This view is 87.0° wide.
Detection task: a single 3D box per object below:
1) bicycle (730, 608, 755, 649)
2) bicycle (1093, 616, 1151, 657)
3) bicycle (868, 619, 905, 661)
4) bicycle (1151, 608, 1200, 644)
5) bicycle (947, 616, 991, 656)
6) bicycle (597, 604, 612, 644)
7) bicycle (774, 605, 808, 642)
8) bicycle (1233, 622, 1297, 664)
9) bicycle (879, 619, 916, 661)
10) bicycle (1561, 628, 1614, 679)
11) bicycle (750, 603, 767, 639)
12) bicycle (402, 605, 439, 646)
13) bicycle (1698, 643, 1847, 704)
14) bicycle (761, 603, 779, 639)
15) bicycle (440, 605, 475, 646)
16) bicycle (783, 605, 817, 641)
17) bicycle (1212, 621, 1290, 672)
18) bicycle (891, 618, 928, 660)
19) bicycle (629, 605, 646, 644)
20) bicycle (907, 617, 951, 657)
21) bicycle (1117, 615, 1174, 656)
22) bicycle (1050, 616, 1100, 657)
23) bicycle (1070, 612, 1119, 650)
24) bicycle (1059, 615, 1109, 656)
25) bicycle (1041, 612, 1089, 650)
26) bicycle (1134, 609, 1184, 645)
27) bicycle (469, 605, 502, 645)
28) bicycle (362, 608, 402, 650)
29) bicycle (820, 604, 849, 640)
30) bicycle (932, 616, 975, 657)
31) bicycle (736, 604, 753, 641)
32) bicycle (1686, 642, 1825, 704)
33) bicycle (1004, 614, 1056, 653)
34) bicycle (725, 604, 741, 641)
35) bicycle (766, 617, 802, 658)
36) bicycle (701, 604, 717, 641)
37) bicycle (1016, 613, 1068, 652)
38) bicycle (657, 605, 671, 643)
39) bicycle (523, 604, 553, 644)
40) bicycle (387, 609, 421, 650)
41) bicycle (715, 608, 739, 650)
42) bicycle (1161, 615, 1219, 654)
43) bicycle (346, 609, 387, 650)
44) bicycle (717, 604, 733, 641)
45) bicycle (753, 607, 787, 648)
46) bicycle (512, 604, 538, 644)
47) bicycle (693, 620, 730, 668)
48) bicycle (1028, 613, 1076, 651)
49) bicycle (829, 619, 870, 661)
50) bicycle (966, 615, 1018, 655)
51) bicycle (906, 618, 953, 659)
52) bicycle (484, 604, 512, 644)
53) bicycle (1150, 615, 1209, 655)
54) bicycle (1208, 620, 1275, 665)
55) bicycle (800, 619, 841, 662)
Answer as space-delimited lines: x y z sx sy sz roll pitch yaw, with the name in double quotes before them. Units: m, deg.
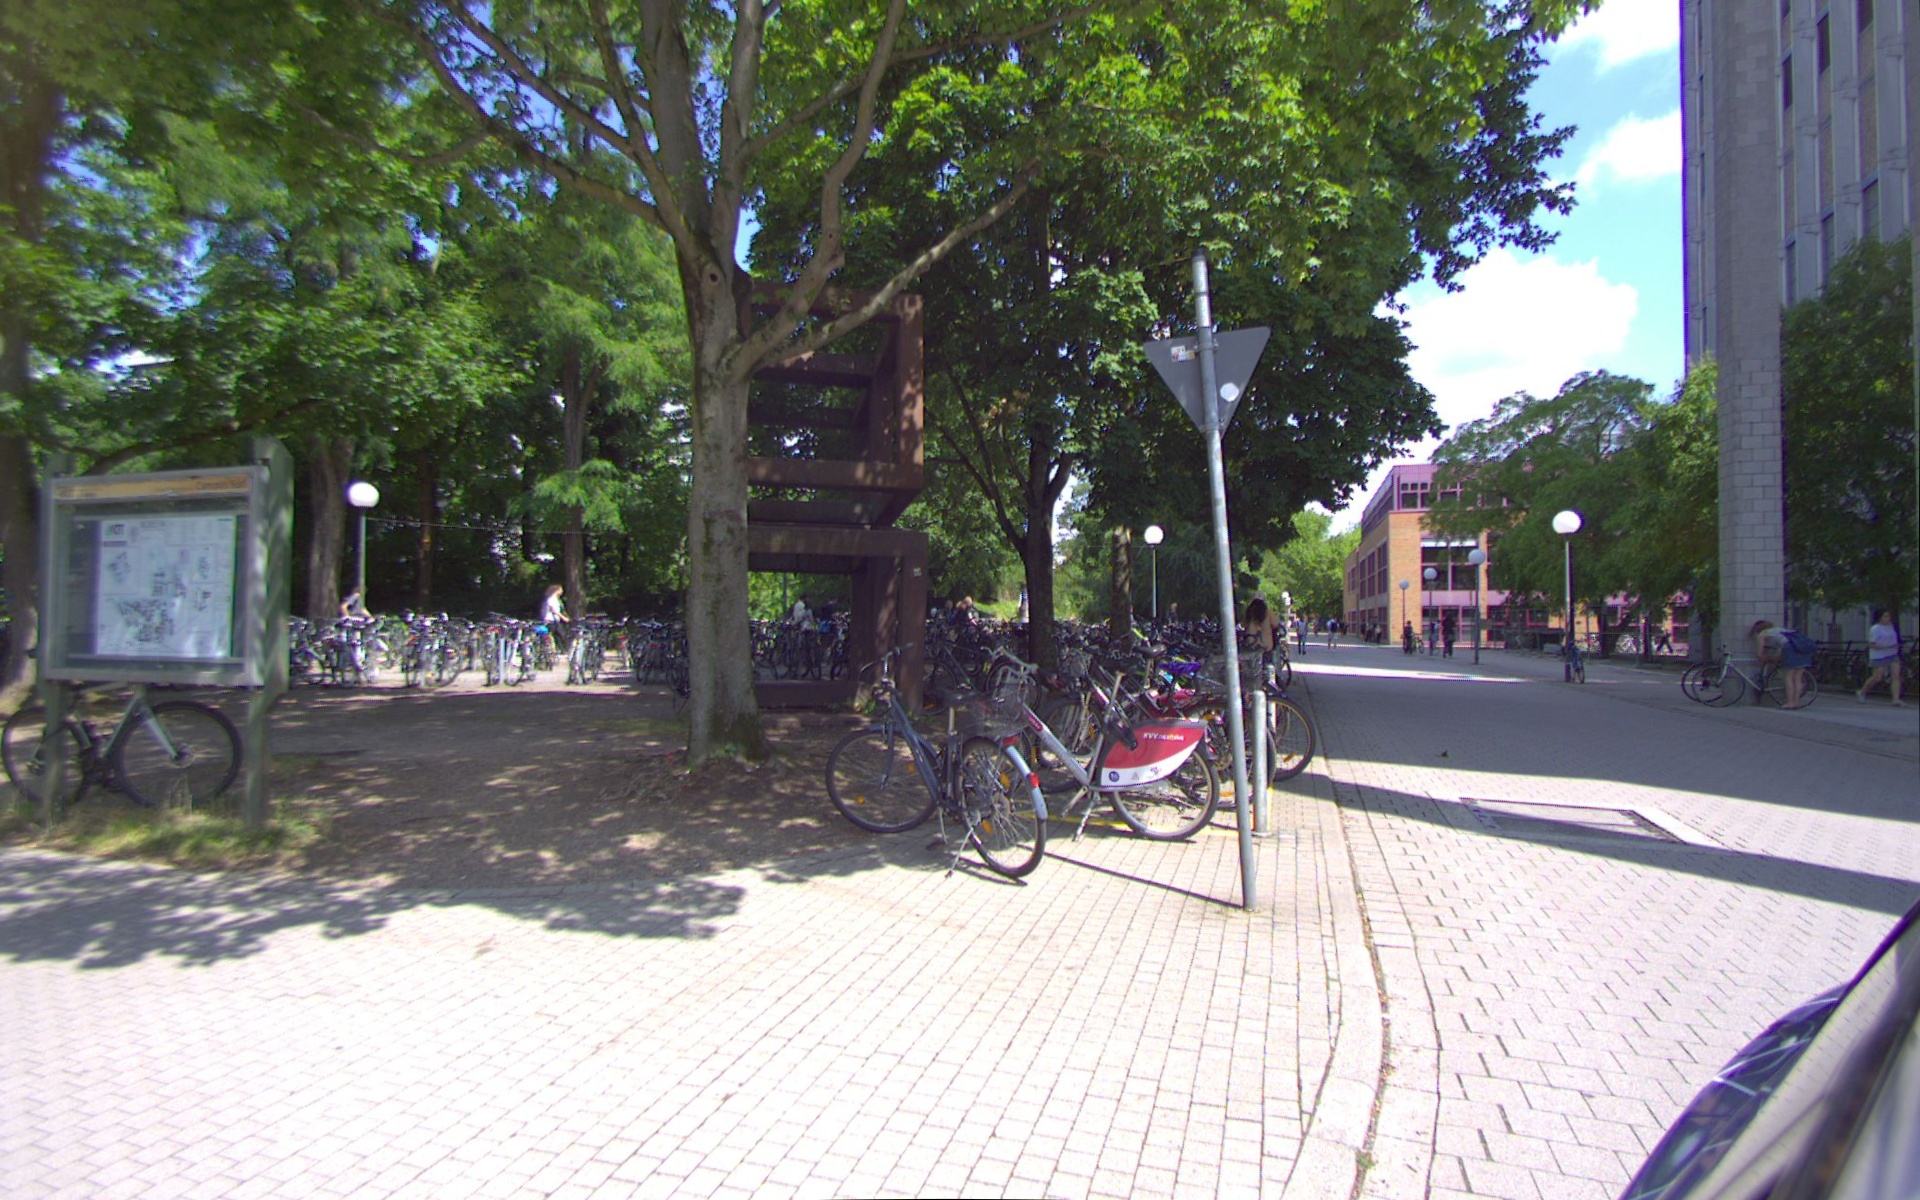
"bicycle" -5.538 0.710 25.706 0.395 0.991 1.600 0 0 -20
"bicycle" 4.525 1.018 28.360 0.470 1.098 1.686 4 -4 -39
"bicycle" -1.990 1.073 27.208 0.345 1.098 1.473 4 -3 -30
"bicycle" 6.928 0.843 32.580 0.469 1.098 1.688 4 -3 -34
"bicycle" 0.238 1.016 28.574 0.469 1.098 1.690 3 -3 -27
"bicycle" -10.365 0.679 29.504 0.341 1.107 1.614 0 0 -17
"bicycle" -5.377 0.732 32.117 0.342 1.107 1.610 0 0 -37
"bicycle" 8.507 1.204 28.229 1.663 1.098 0.526 1 -3 14
"bicycle" -1.691 1.066 27.392 0.345 1.098 1.473 4 -3 -30
"bicycle" 14.492 1.214 23.420 0.562 1.117 1.823 1 -1 16
"bicycle" -6.388 0.646 32.073 0.341 1.107 1.614 0 0 -19
"bicycle" -15.321 0.711 28.756 0.469 1.107 1.614 0 0 -10
"bicycle" 12.628 1.129 15.783 1.757 0.911 0.334 -1 -2 25
"bicycle" -6.059 0.641 32.185 0.341 1.107 1.614 0 0 -19
"bicycle" -14.299 0.710 28.847 0.469 1.107 1.614 0 0 -10
"bicycle" -5.112 0.723 32.339 0.342 1.107 1.610 0 0 -37
"bicycle" 6.647 1.065 23.171 1.663 1.098 0.476 1 -3 14
"bicycle" -1.382 1.058 27.574 0.345 1.098 1.473 4 -3 -30
"bicycle" -9.608 0.717 30.112 0.468 1.107 1.614 0 0 -19
"bicycle" -0.890 1.023 28.452 0.346 1.098 1.469 5 -4 -41
"bicycle" 5.251 1.001 28.763 0.470 1.098 1.686 4 -4 -39
"bicycle" 3.124 0.986 27.679 0.346 1.098 1.468 5 -4 -43
"bicycle" 4.038 0.929 30.544 0.469 1.098 1.689 4 -3 -32
"bicycle" 3.407 0.975 27.950 0.346 1.098 1.468 5 -4 -43
"bicycle" 3.138 0.936 30.387 0.469 1.098 1.689 4 -3 -32
"bicycle" 6.304 0.866 32.074 0.469 1.098 1.688 4 -3 -34
"bicycle" -13.697 0.694 29.230 0.469 1.107 1.614 0 0 -10
"bicycle" -16.327 0.805 28.614 0.469 1.107 1.614 0 0 -10
"bicycle" -4.064 0.705 32.748 0.341 1.107 1.613 0 0 -30
"bicycle" -0.185 1.025 28.366 0.469 1.098 1.690 3 -3 -27
"bicycle" -6.707 0.672 31.444 0.341 1.107 1.614 0 0 -19
"bicycle" 12.962 1.167 16.546 1.766 0.911 0.442 0 -2 38
"bicycle" 2.034 0.970 29.481 0.470 1.098 1.686 4 -4 -38
"bicycle" -7.041 0.675 31.364 0.341 1.107 1.614 0 0 -19
"bicycle" -4.569 0.960 26.198 0.371 0.991 1.804 0 0 -27
"bicycle" -7.751 0.679 31.264 0.341 1.107 1.614 0 0 -19
"bicycle" 2.403 0.958 29.785 0.470 1.098 1.686 4 -4 -38
"bicycle" -8.923 0.701 30.489 0.341 1.107 1.614 0 0 -19
"bicycle" -12.297 0.679 29.524 0.469 1.107 1.614 0 0 -10
"bicycle" -15.620 0.811 28.444 0.341 1.107 1.614 0 0 -10
"bicycle" -5.904 0.712 25.577 0.395 0.991 1.600 0 0 -20
"bicycle" 6.591 0.988 29.084 0.470 1.098 1.686 4 -4 -39
"bicycle" -16.682 0.810 28.495 0.469 1.107 1.614 0 0 -10
"bicycle" -7.262 0.678 31.274 0.329 1.107 1.614 0 0 -19
"bicycle" -4.904 0.699 26.036 0.371 0.991 1.804 0 0 -27
"bicycle" -12.642 0.680 29.462 0.341 1.107 1.614 0 0 -10
"bicycle" -5.651 0.967 22.947 0.469 0.991 1.907 0 0 -24
"bicycle" 2.733 0.947 30.118 0.469 1.098 1.689 4 -3 -32
"bicycle" -2.943 1.054 26.911 0.346 1.098 1.470 4 -4 -37
"bicycle" 0.893 0.996 28.878 0.470 1.098 1.686 4 -4 -38
"bicycle" -0.845 1.046 27.856 0.347 1.098 1.467 5 -4 -44
"bicycle" -13.357 0.691 29.294 0.341 1.107 1.614 0 0 -10
"bicycle" 6.235 1.000 28.778 0.470 1.098 1.686 4 -4 -39
"bicycle" 7.319 1.106 26.351 1.663 1.098 0.476 1 -3 14
"bicycle" -3.622 1.048 26.232 0.346 1.098 1.471 4 -4 -36
